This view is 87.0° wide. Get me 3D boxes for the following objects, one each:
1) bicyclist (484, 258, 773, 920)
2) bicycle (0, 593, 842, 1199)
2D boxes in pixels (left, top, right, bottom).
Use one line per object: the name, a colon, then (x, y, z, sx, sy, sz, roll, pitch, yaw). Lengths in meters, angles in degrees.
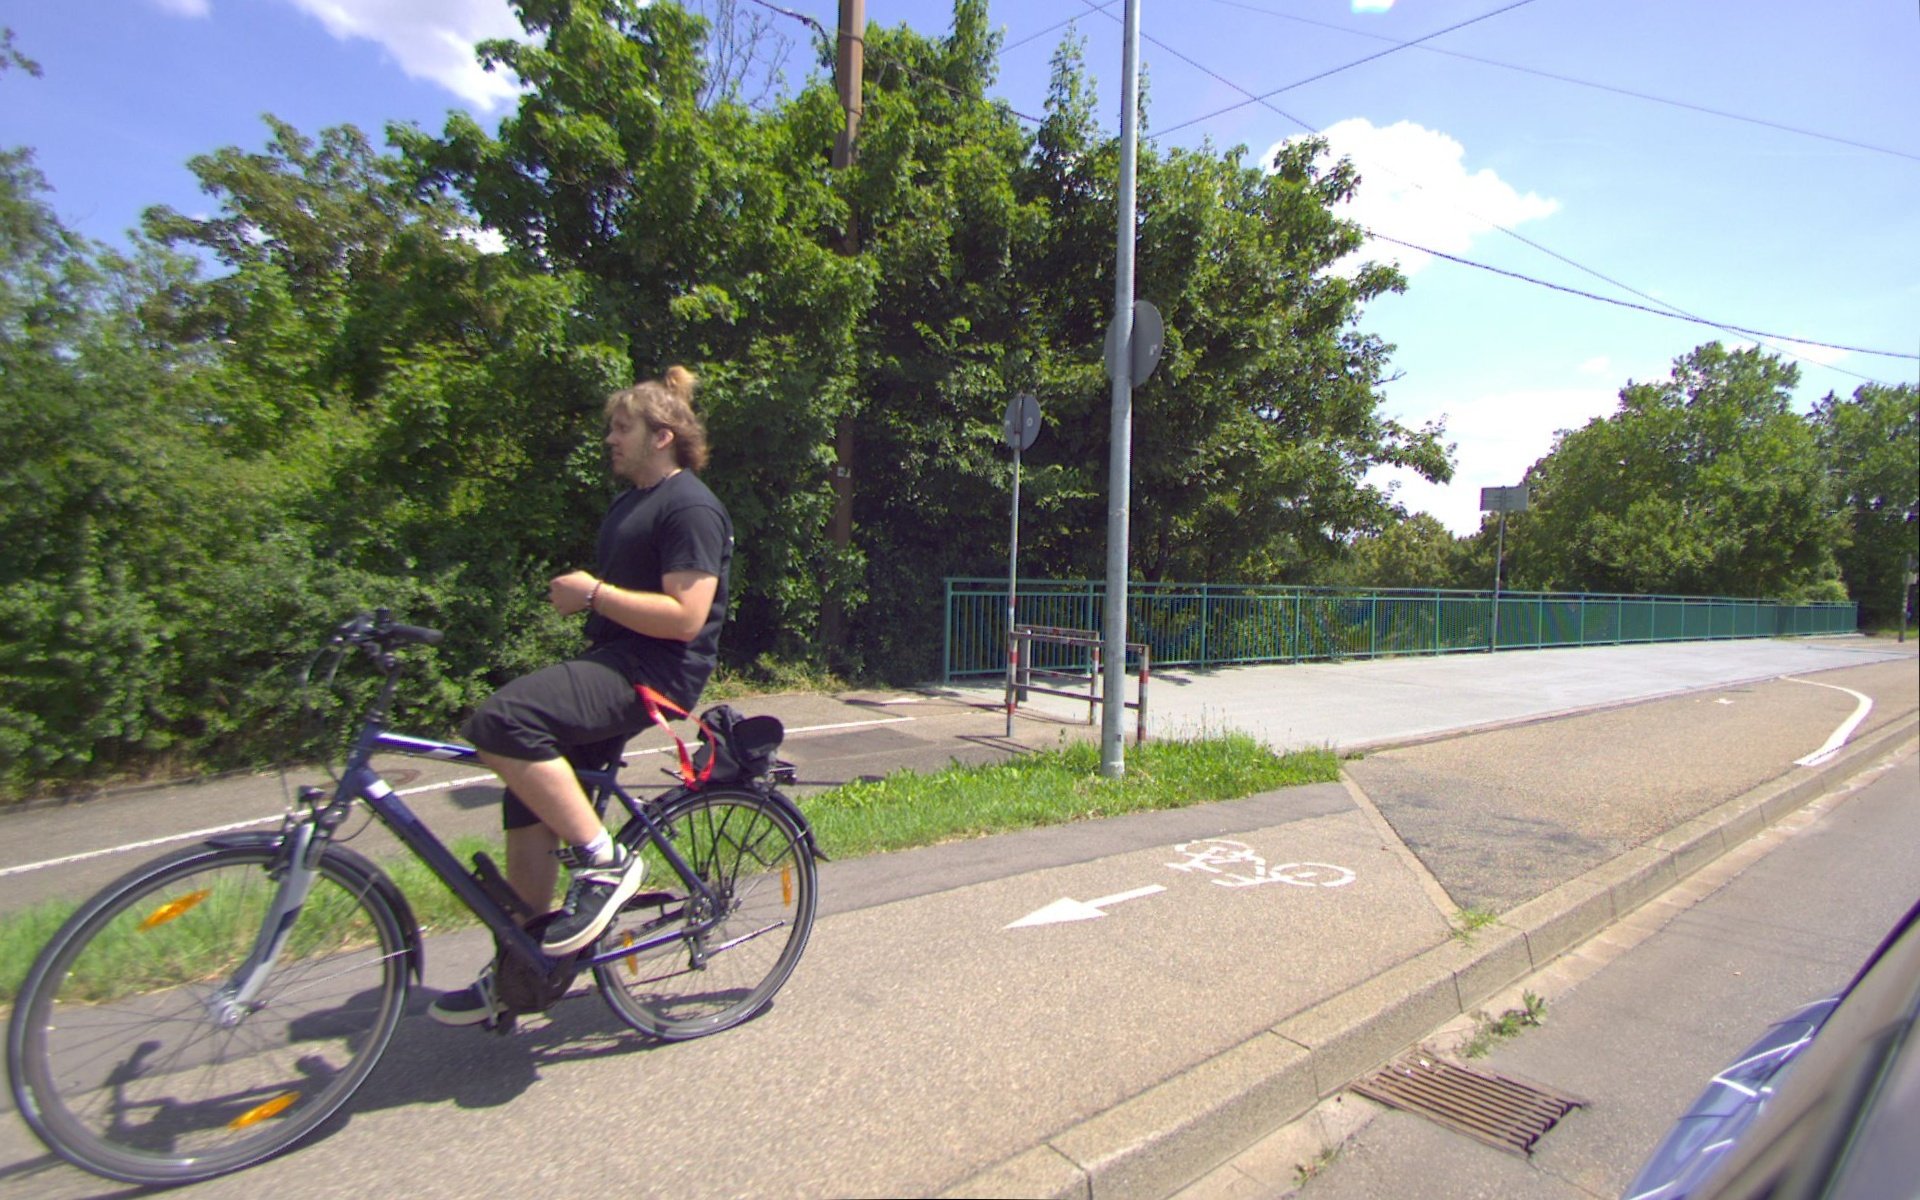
bicyclist: (-0.898, -0.025, 2.713, 0.547, 1.514, 0.587, 2, -1, -36)
bicycle: (-1.206, 0.593, 2.480, 1.819, 1.167, 0.433, 2, -1, -36)
